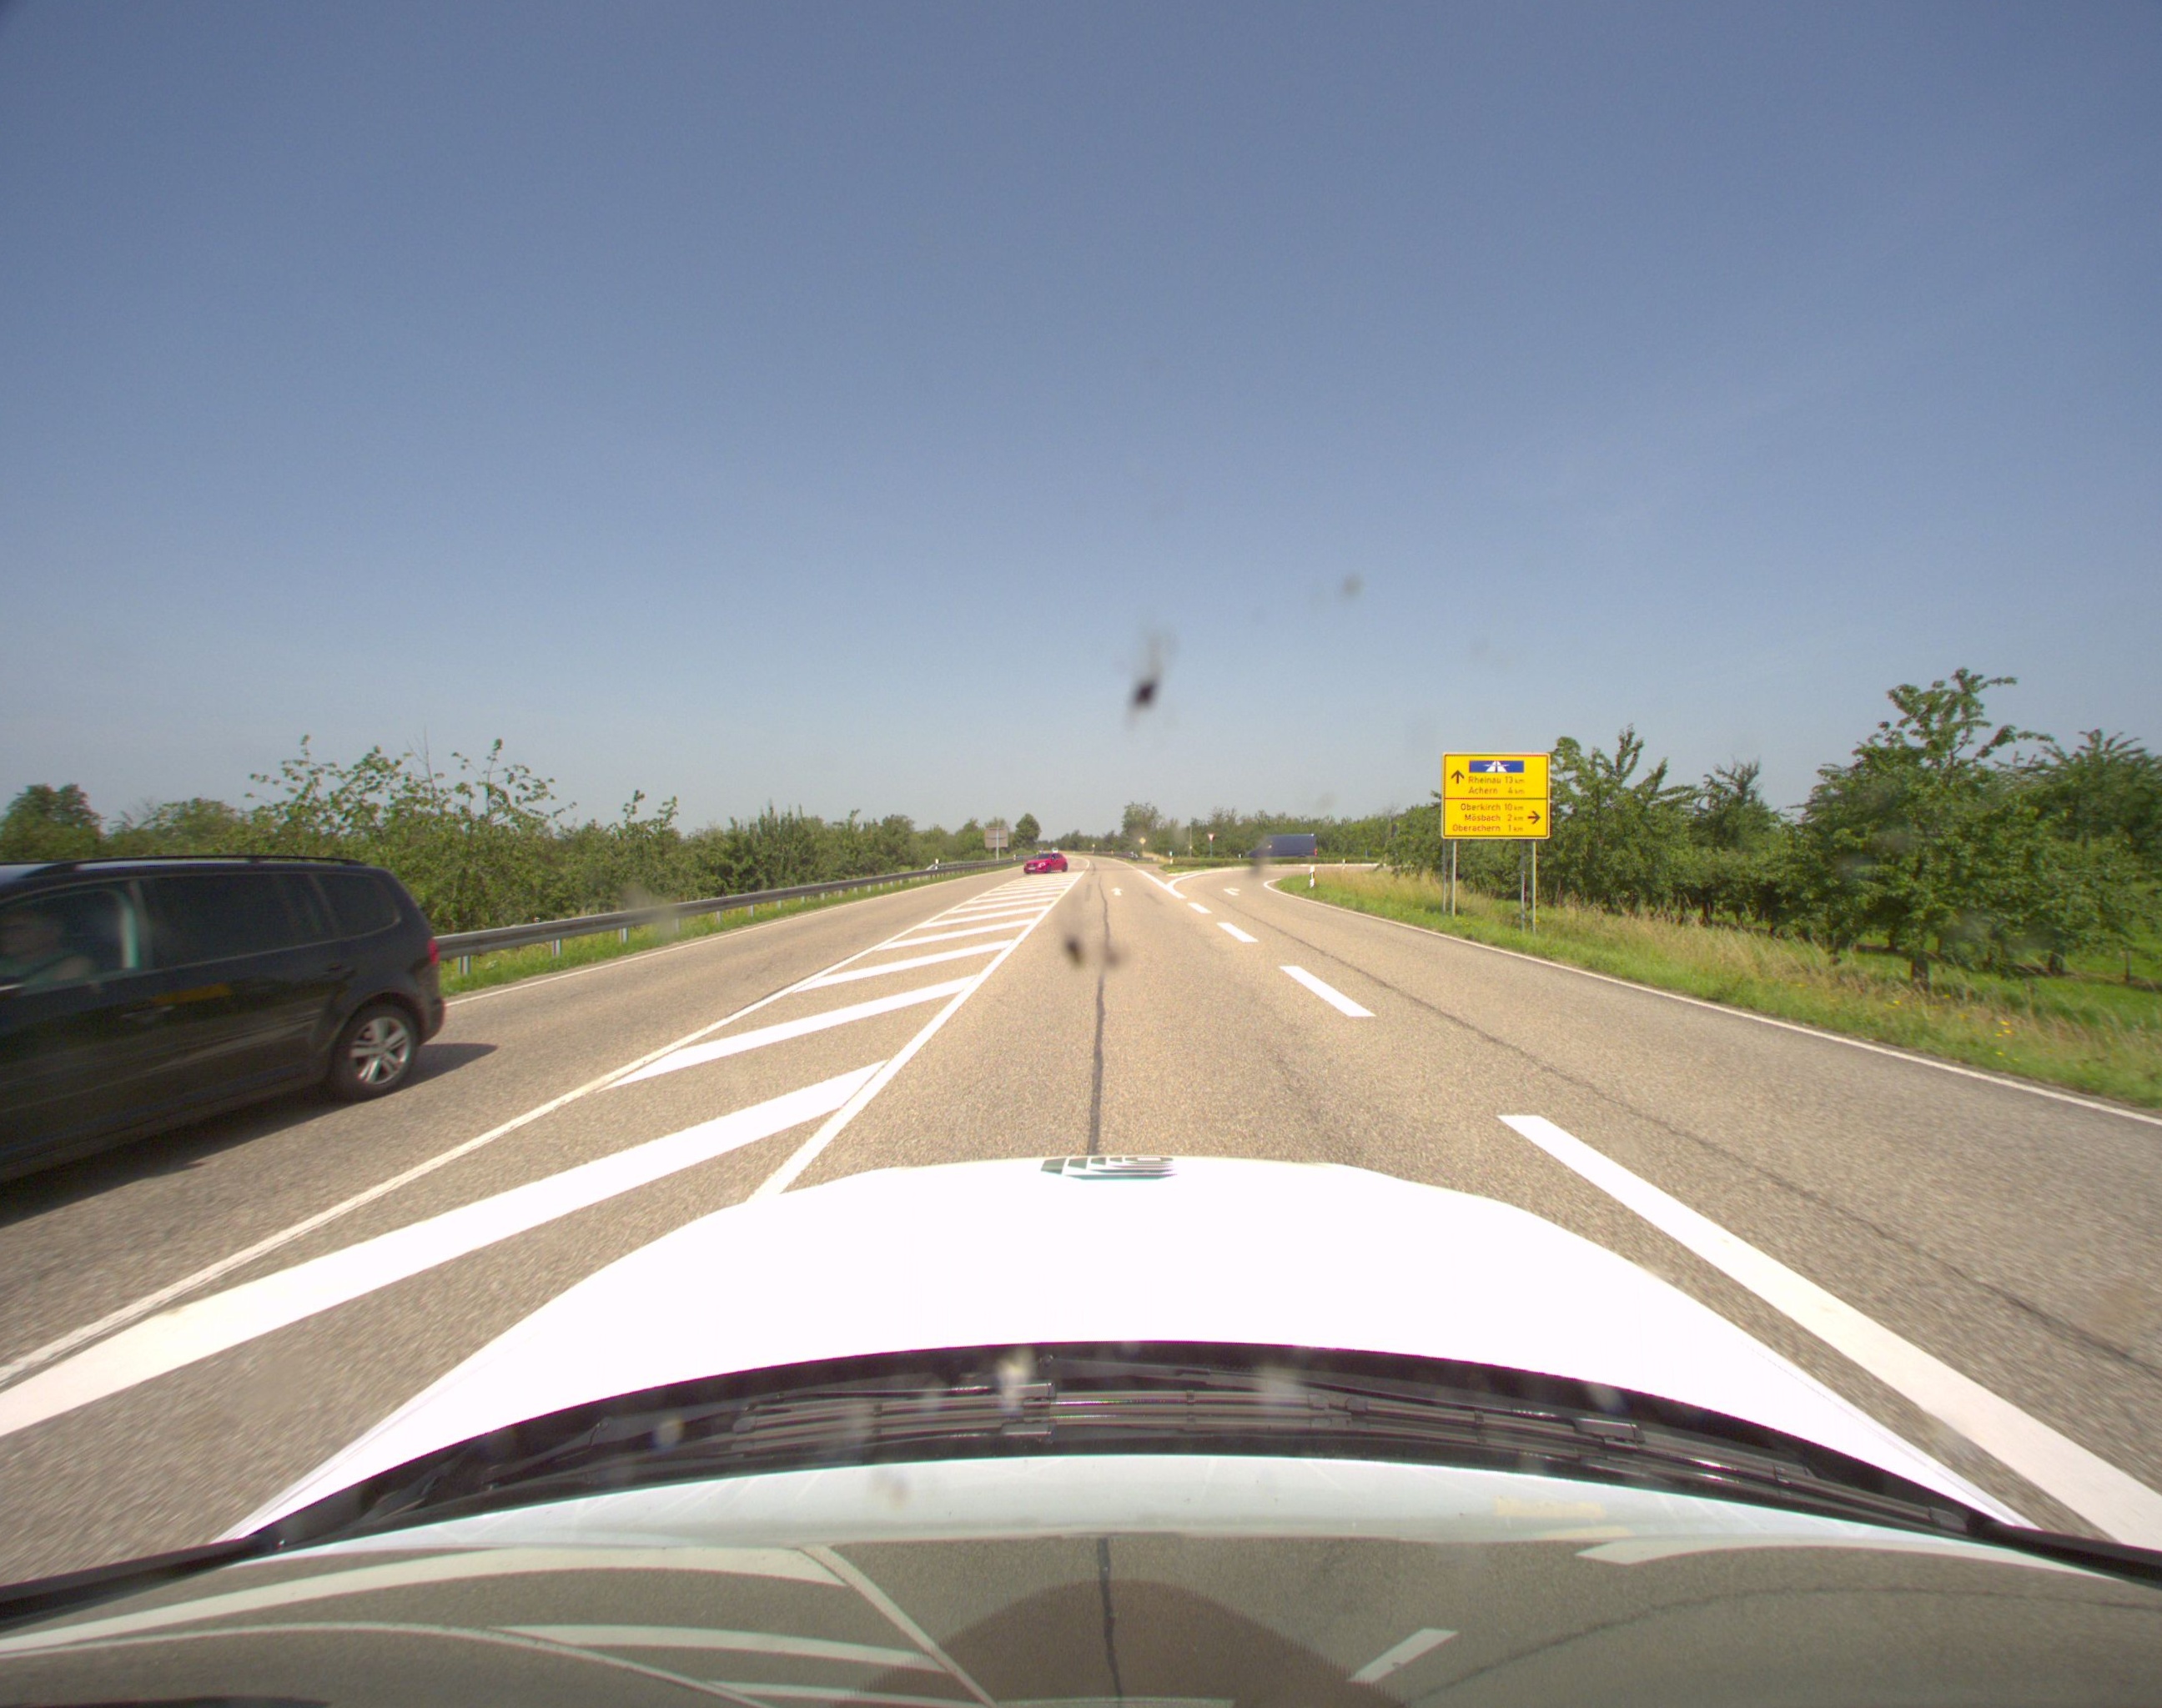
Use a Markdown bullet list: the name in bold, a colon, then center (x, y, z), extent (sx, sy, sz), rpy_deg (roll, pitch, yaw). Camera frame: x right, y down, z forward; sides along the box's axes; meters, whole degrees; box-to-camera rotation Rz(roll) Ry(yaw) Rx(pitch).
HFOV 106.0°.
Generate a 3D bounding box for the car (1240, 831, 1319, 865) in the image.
- **car**: center (16.568, -0.458, 68.235), extent (6.247, 2.575, 2.070), rpy_deg (-2, -1, 13)

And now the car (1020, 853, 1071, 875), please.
- **car**: center (-2.458, 0.657, 57.409), extent (1.799, 1.449, 4.520), rpy_deg (-2, 0, 23)

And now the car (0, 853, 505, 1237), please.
- **car**: center (-5.530, 0.838, 4.139), extent (1.798, 1.637, 4.807), rpy_deg (-1, 0, -1)
